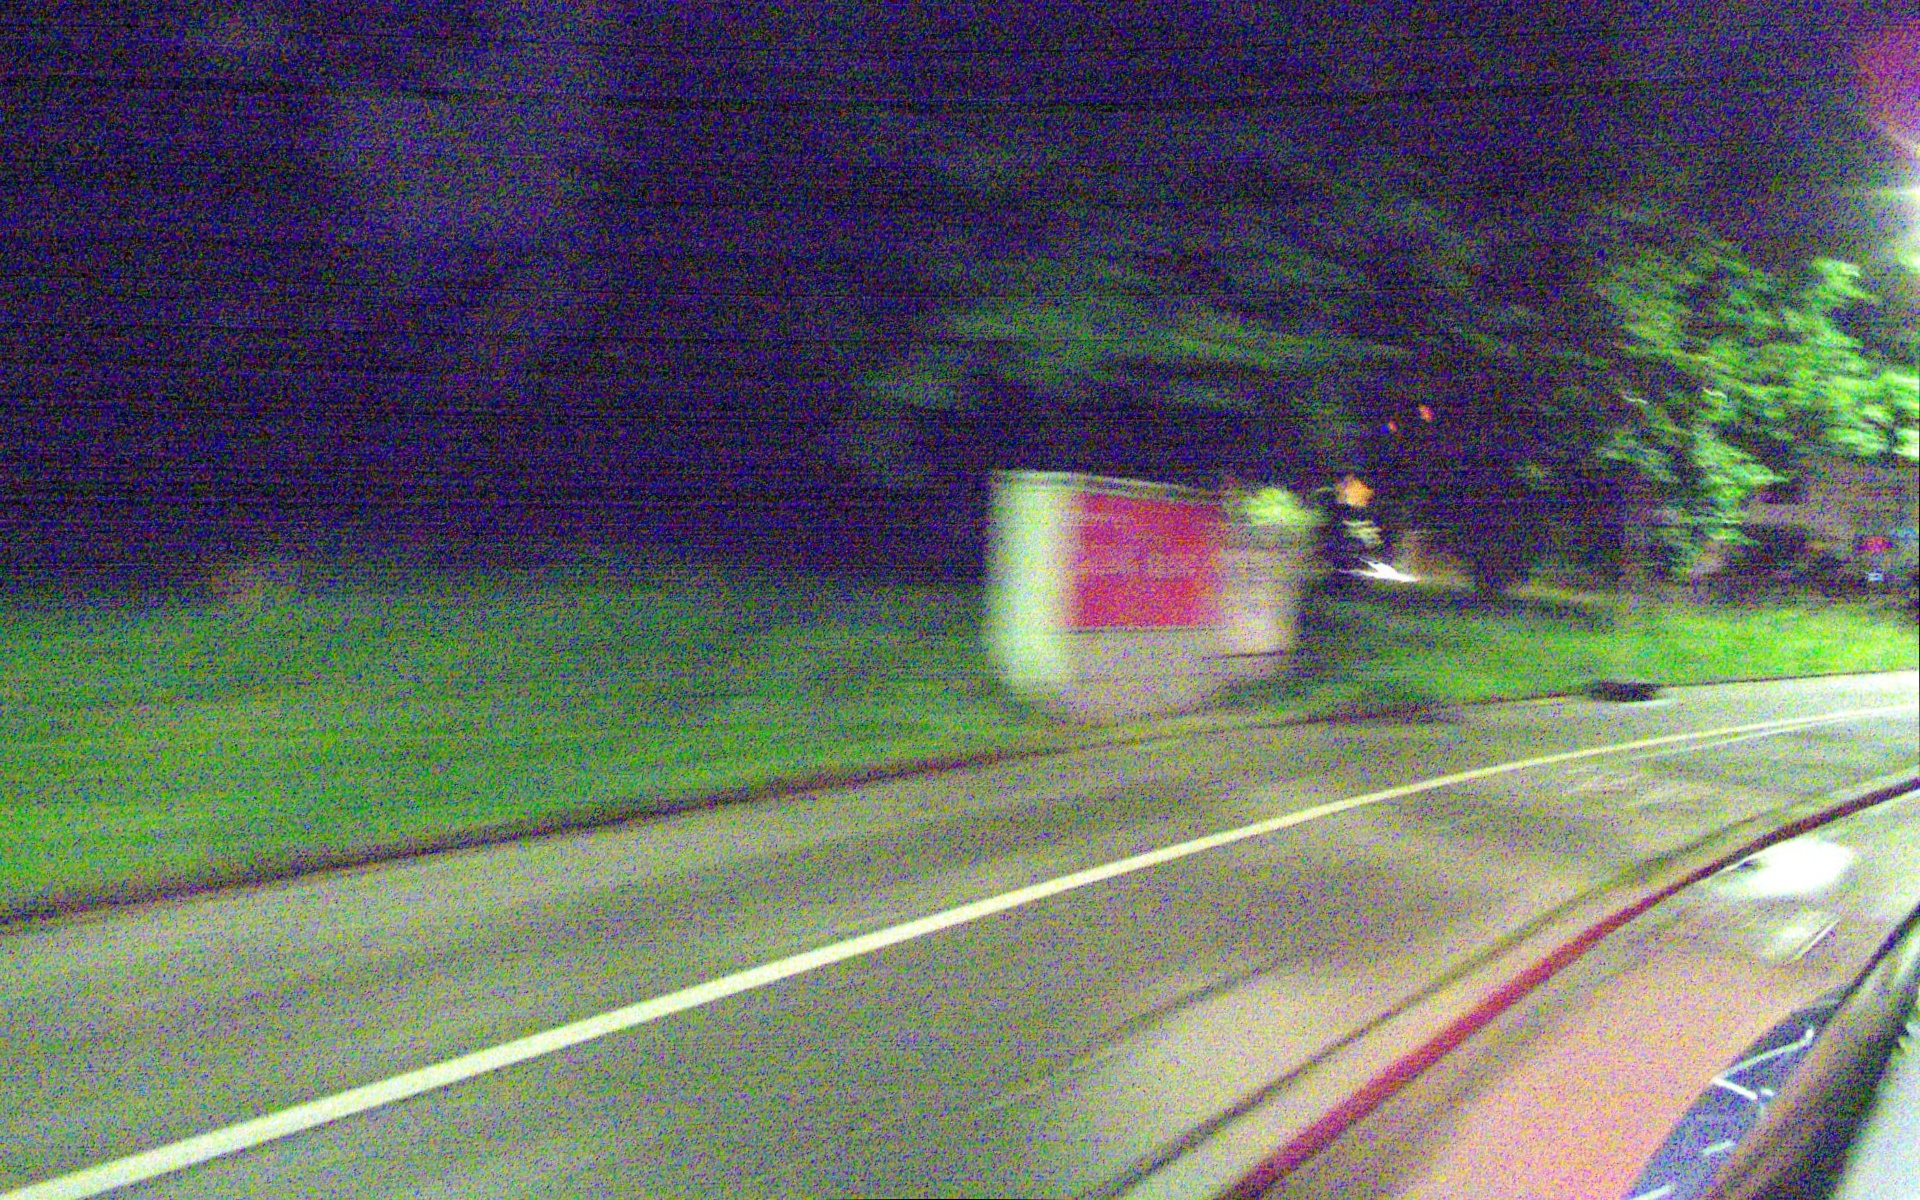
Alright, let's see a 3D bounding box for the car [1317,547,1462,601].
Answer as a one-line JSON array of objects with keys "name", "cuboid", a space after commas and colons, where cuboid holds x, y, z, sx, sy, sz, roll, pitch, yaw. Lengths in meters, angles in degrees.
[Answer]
[{"name": "car", "cuboid": [13.994, -0.897, 33.127, 1.915, 1.470, 3.893, -2, 6, -44]}]
